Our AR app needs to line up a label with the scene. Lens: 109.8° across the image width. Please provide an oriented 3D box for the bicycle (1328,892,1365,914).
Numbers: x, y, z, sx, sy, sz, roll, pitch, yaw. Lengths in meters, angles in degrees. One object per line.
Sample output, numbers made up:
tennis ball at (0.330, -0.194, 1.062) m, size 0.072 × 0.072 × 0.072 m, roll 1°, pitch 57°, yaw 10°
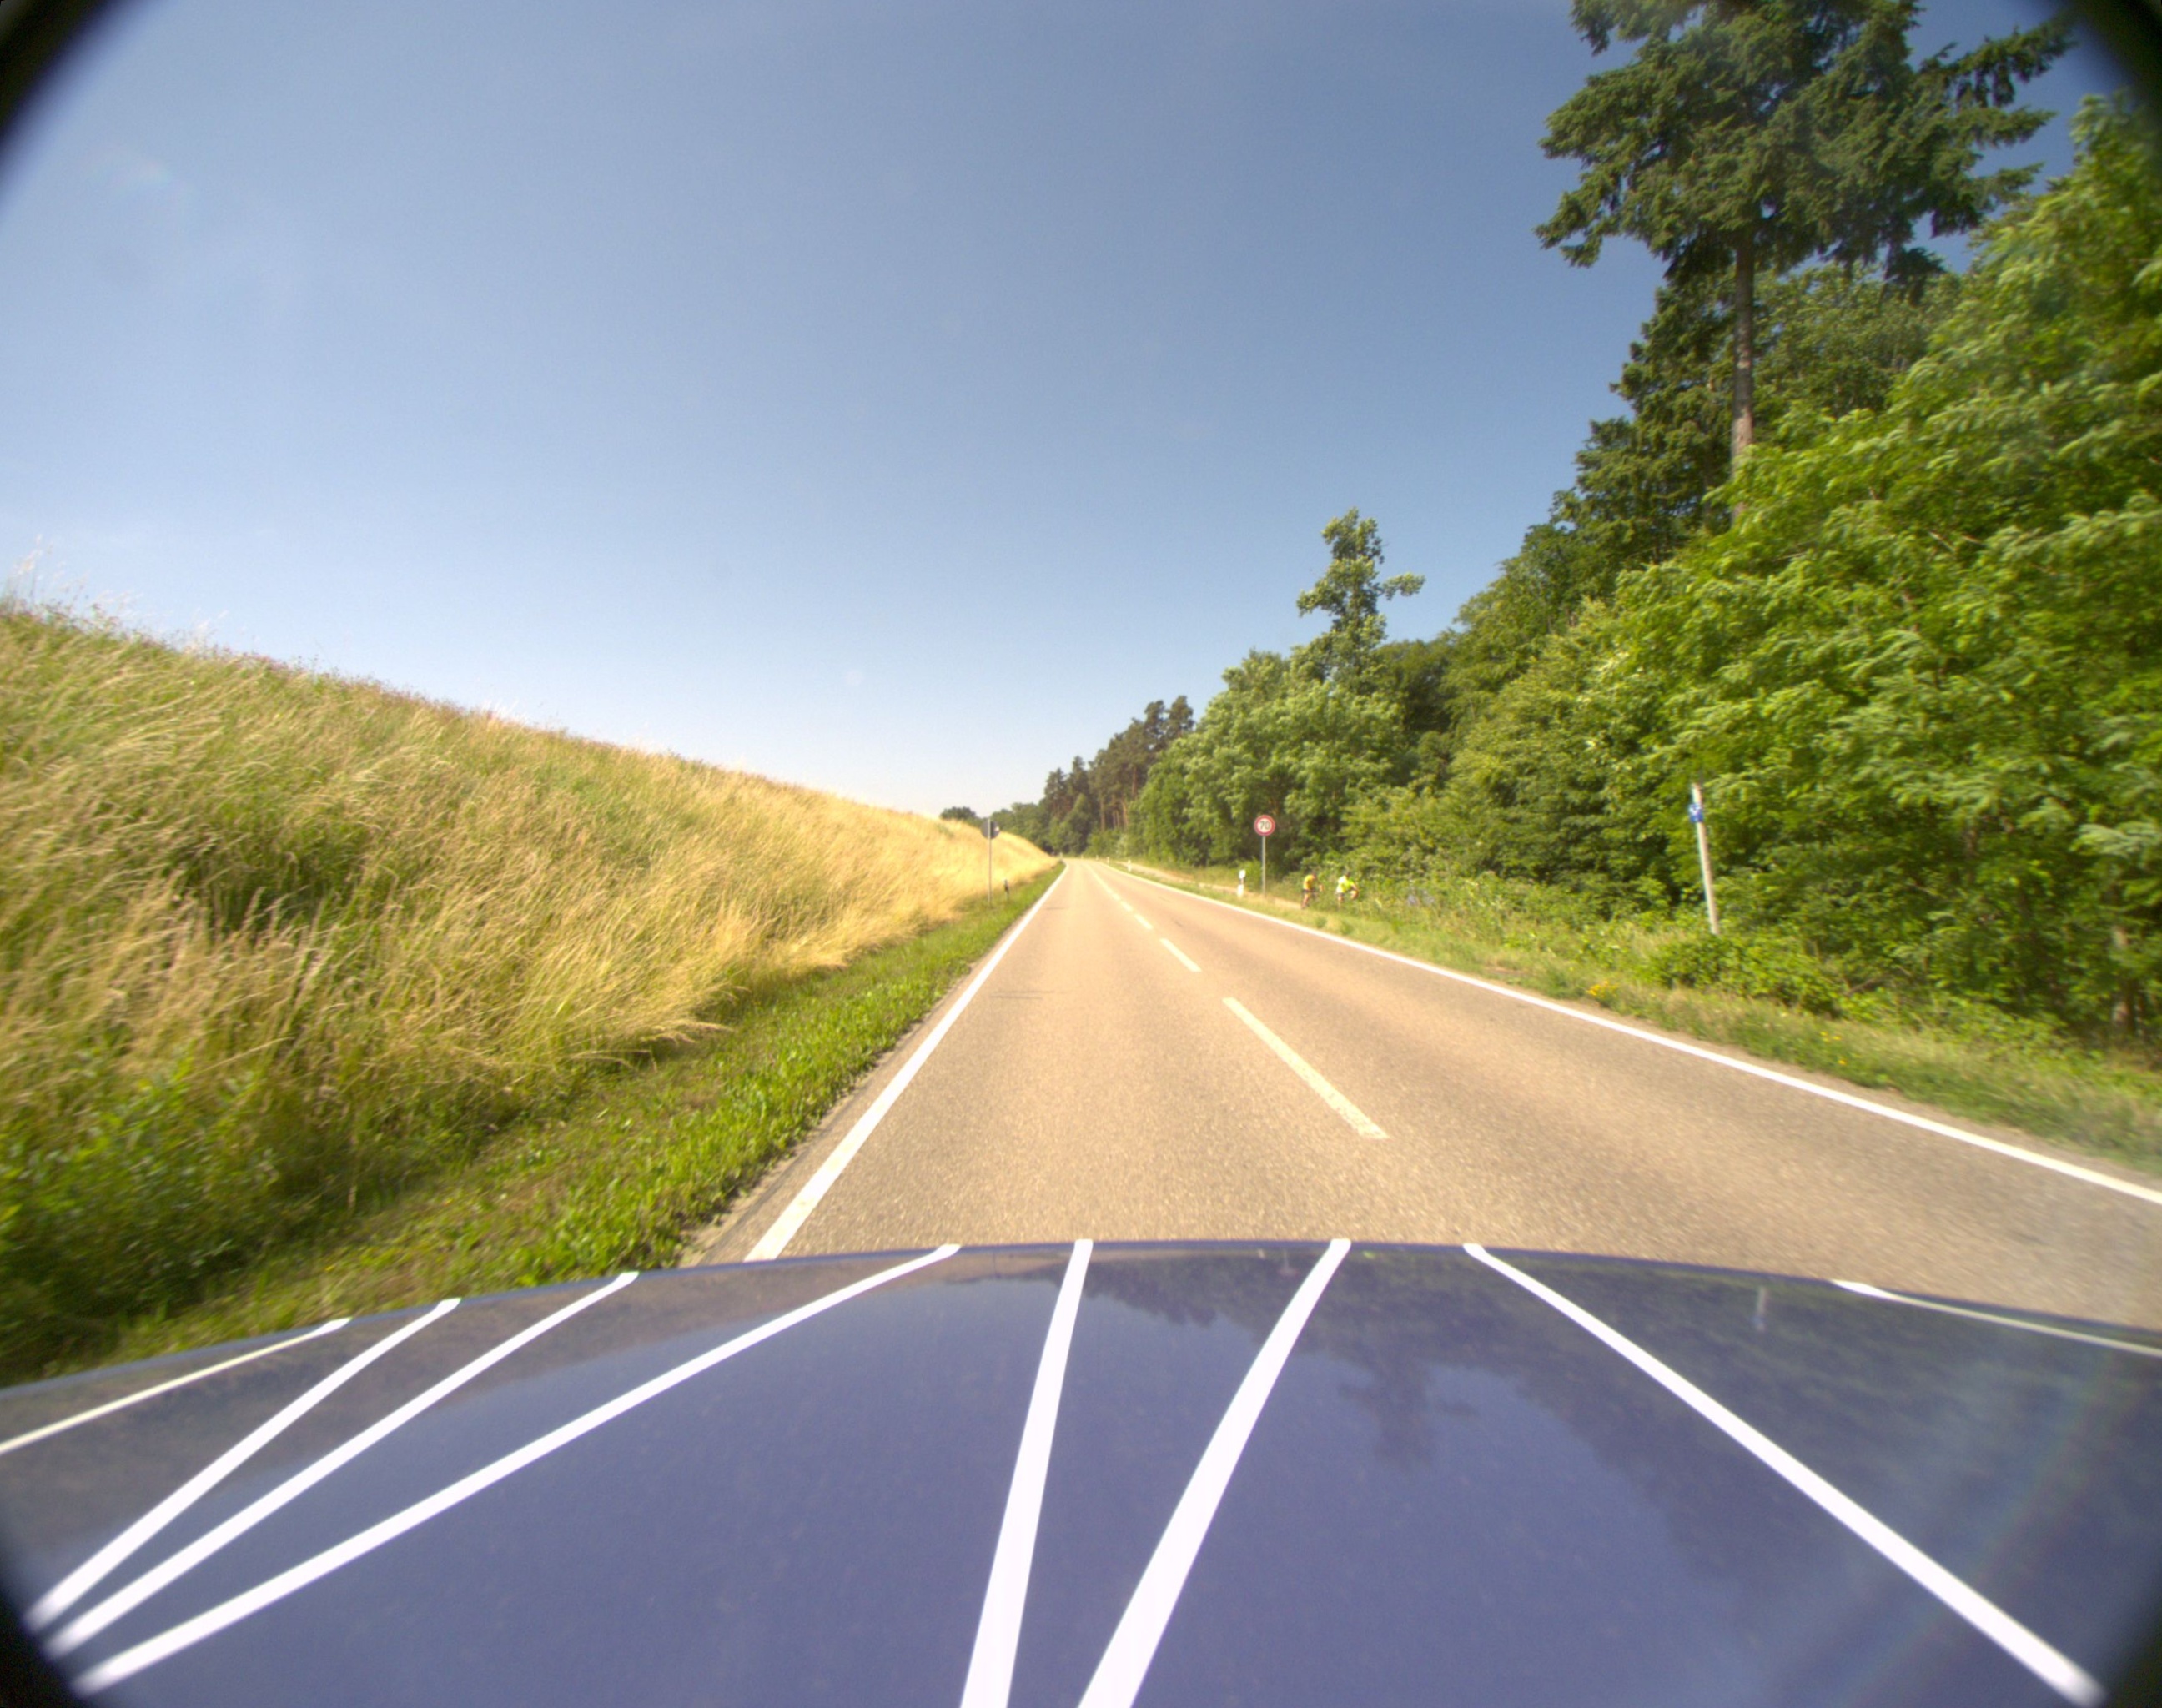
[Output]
bicycle at (10.097, 1.845, 28.993) m, size 0.621 × 0.677 × 2.136 m, roll 2°, pitch 0°, yaw 0°

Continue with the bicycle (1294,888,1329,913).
bicycle at (8.632, 1.728, 28.588) m, size 0.641 × 0.783 × 2.136 m, roll 2°, pitch 0°, yaw 0°

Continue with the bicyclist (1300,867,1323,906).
bicyclist at (8.662, 1.209, 28.567) m, size 0.606 × 1.407 × 0.702 m, roll 1°, pitch 1°, yaw -1°

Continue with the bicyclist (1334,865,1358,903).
bicyclist at (10.097, 1.145, 29.005) m, size 0.606 × 1.407 × 0.702 m, roll 2°, pitch 1°, yaw -1°
